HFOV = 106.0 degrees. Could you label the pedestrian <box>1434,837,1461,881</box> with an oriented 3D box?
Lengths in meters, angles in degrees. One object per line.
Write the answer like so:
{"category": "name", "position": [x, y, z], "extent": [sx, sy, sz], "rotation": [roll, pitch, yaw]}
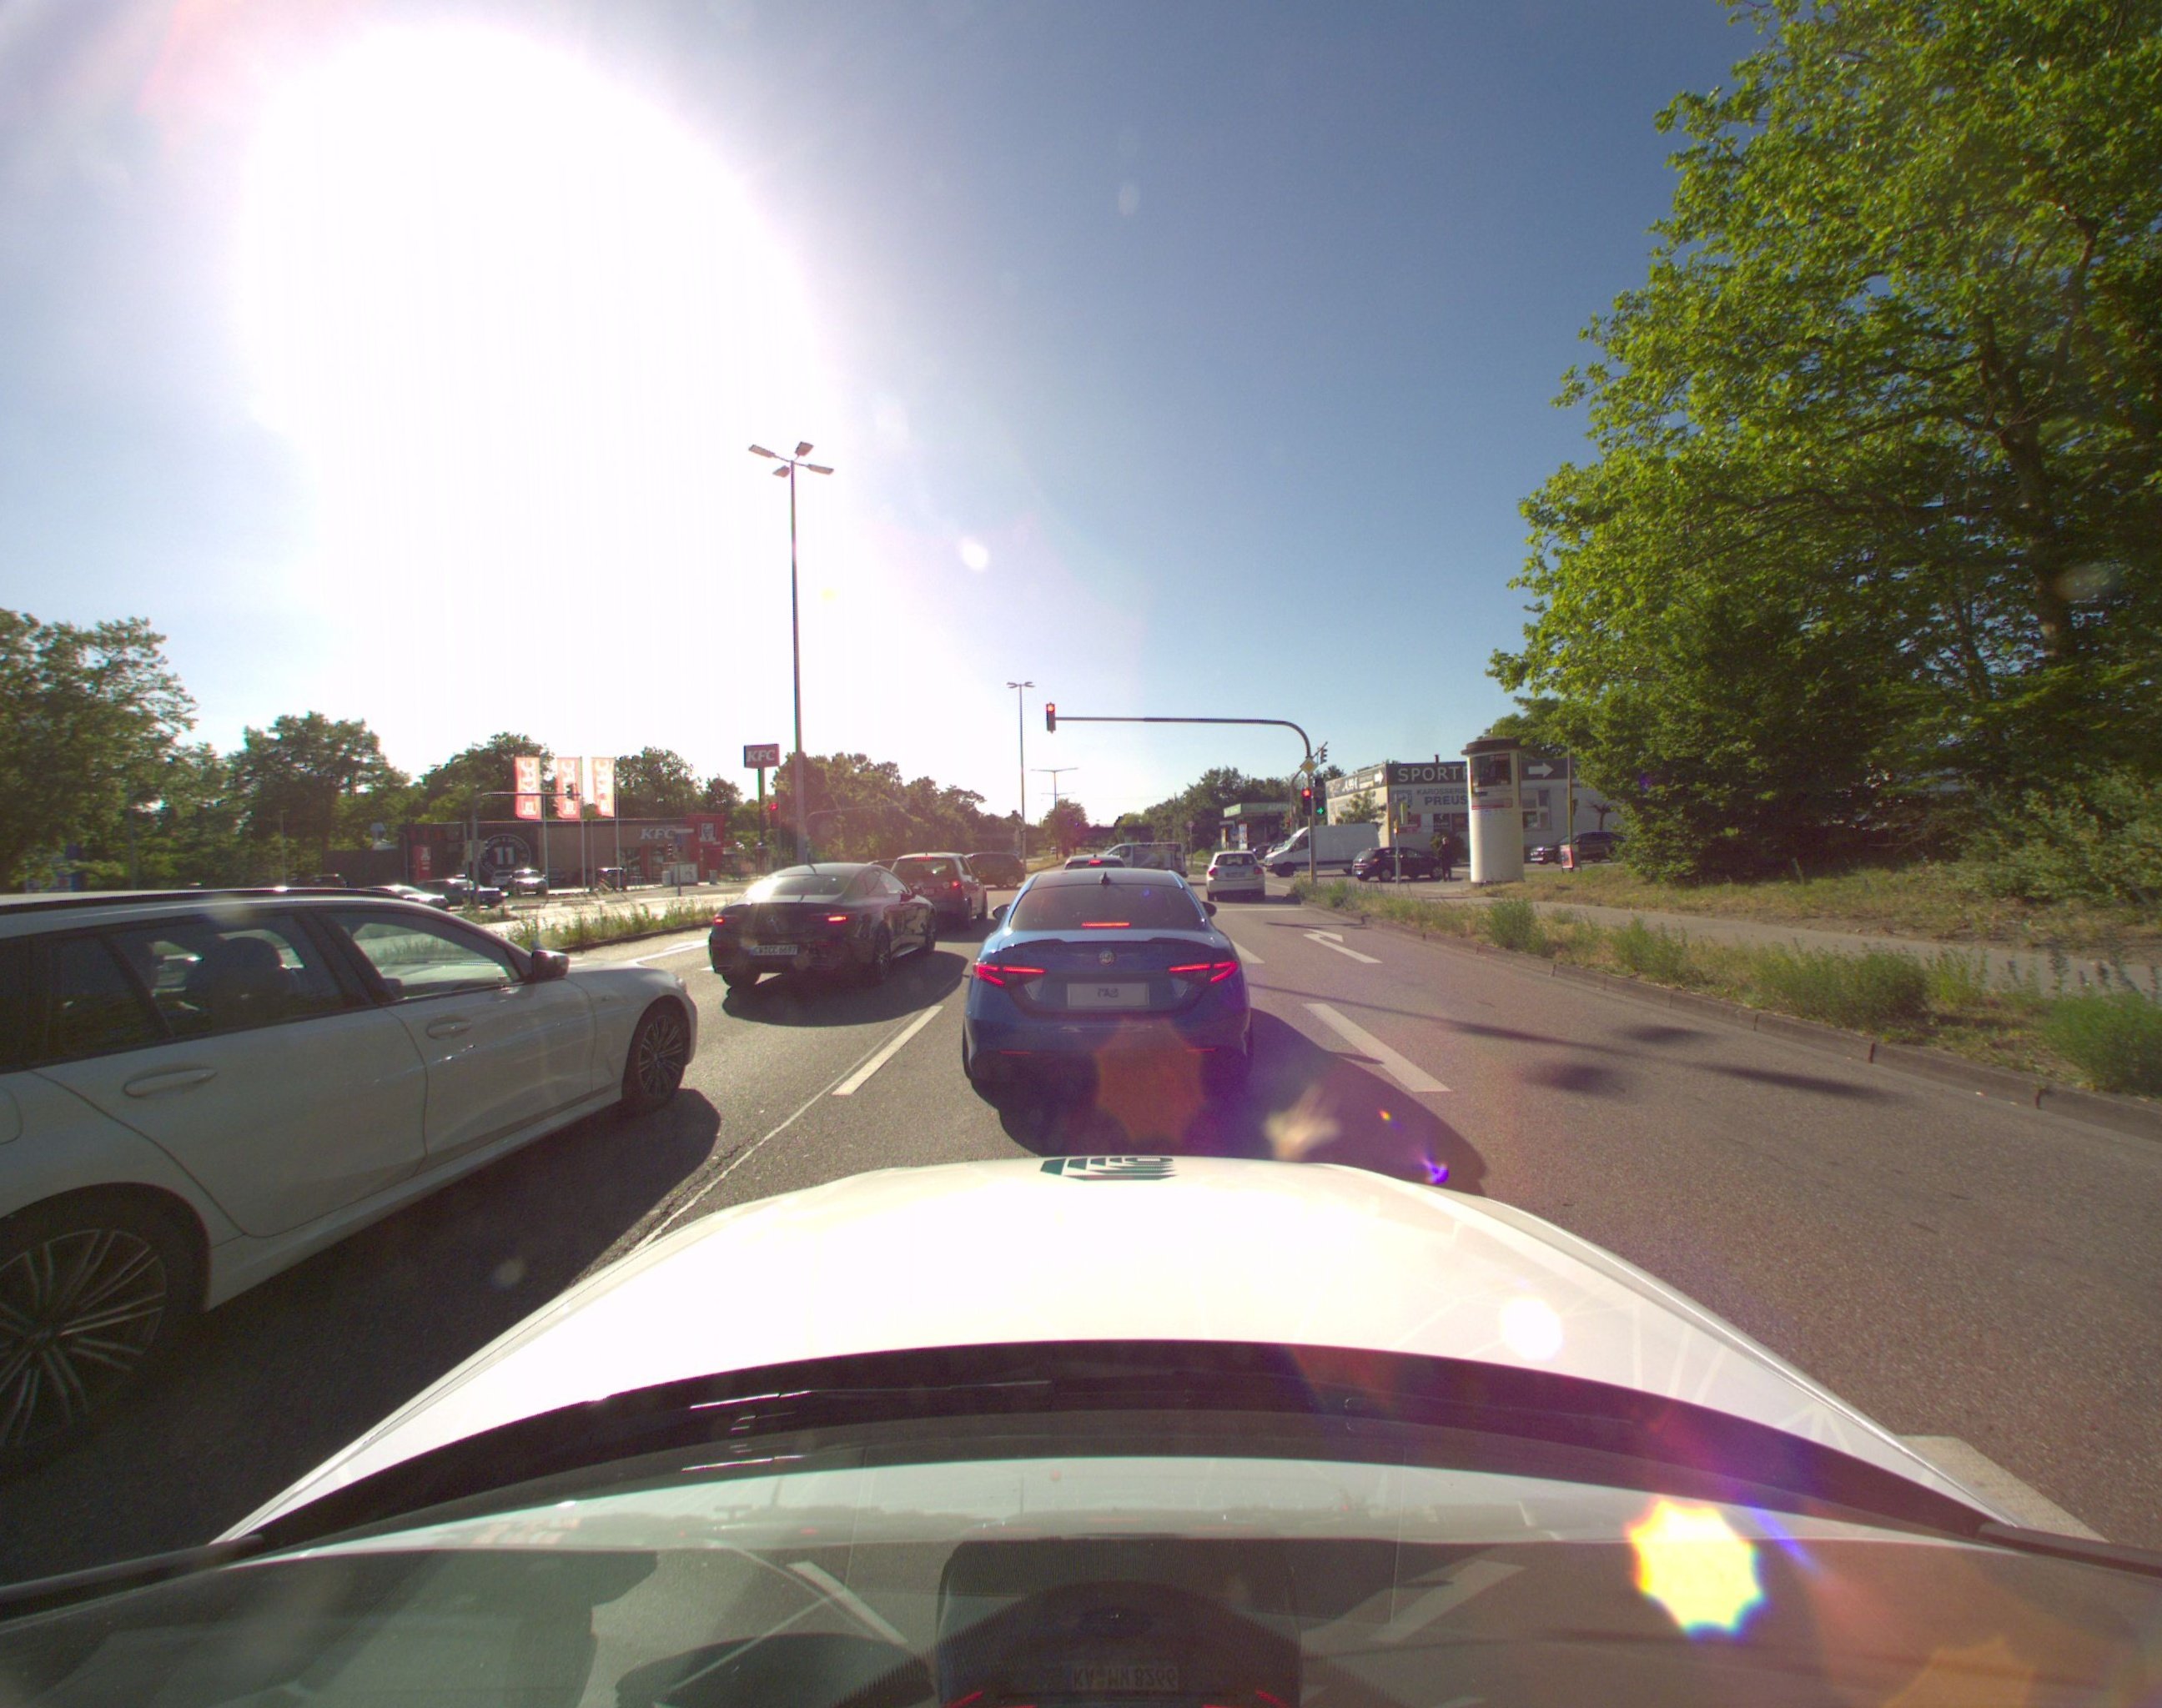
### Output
{"category": "pedestrian", "position": [14.193, 0.187, 31.561], "extent": [0.814, 1.669, 0.514], "rotation": [0, -1, 1]}

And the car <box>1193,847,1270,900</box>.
{"category": "car", "position": [4.686, 0.558, 25.862], "extent": [1.777, 1.537, 4.109], "rotation": [0, 0, 2]}

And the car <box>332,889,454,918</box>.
{"category": "car", "position": [-32.179, 2.315, 38.191], "extent": [4.070, 1.252, 1.871], "rotation": [0, -1, 0]}

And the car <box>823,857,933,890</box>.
{"category": "car", "position": [-9.607, 0.907, 38.587], "extent": [4.843, 1.468, 1.744], "rotation": [0, -1, -26]}

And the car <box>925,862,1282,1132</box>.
{"category": "car", "position": [0.227, 0.779, 6.214], "extent": [1.901, 1.423, 3.722], "rotation": [0, -1, 3]}

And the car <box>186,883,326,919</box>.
{"category": "car", "position": [-39.092, 2.189, 38.674], "extent": [4.608, 1.579, 1.936], "rotation": [0, -1, 0]}

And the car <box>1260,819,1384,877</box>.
{"category": "car", "position": [12.493, -0.285, 42.504], "extent": [5.812, 2.672, 2.001], "rotation": [-3, -1, 2]}

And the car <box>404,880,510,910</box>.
{"category": "car", "position": [-31.916, 2.094, 41.734], "extent": [3.939, 1.453, 1.937], "rotation": [0, -1, 2]}

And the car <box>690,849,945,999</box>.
{"category": "car", "position": [-3.151, 0.737, 10.840], "extent": [1.806, 1.551, 4.544], "rotation": [-1, 0, 1]}

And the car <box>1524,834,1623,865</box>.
{"category": "car", "position": [25.555, -0.225, 42.359], "extent": [3.972, 1.508, 1.879], "rotation": [0, -1, 2]}

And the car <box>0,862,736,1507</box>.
{"category": "car", "position": [-3.422, 0.823, 3.400], "extent": [1.805, 1.486, 4.599], "rotation": [-1, 0, 2]}

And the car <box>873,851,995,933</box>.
{"category": "car", "position": [-3.006, 0.738, 17.603], "extent": [1.806, 1.551, 4.353], "rotation": [0, -1, 0]}

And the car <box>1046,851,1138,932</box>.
{"category": "car", "position": [0.325, 0.720, 16.979], "extent": [1.696, 1.497, 3.722], "rotation": [0, -1, 3]}

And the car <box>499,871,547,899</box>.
{"category": "car", "position": [-37.376, 2.022, 54.538], "extent": [1.946, 1.740, 4.046], "rotation": [0, -1, -45]}

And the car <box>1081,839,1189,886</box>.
{"category": "car", "position": [2.553, 0.418, 39.225], "extent": [4.942, 2.035, 1.879], "rotation": [-2, -1, -3]}

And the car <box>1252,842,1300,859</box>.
{"category": "car", "position": [17.824, -0.309, 74.435], "extent": [3.971, 1.552, 2.001], "rotation": [0, -1, 2]}

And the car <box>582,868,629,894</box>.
{"category": "car", "position": [-33.908, 1.867, 58.008], "extent": [1.946, 1.740, 4.046], "rotation": [0, -1, -45]}

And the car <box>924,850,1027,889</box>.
{"category": "car", "position": [-4.716, 0.667, 36.426], "extent": [4.323, 1.650, 1.626], "rotation": [0, -1, -22]}

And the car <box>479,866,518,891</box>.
{"category": "car", "position": [-45.463, 1.878, 63.559], "extent": [2.011, 1.813, 3.727], "rotation": [0, -1, -43]}
